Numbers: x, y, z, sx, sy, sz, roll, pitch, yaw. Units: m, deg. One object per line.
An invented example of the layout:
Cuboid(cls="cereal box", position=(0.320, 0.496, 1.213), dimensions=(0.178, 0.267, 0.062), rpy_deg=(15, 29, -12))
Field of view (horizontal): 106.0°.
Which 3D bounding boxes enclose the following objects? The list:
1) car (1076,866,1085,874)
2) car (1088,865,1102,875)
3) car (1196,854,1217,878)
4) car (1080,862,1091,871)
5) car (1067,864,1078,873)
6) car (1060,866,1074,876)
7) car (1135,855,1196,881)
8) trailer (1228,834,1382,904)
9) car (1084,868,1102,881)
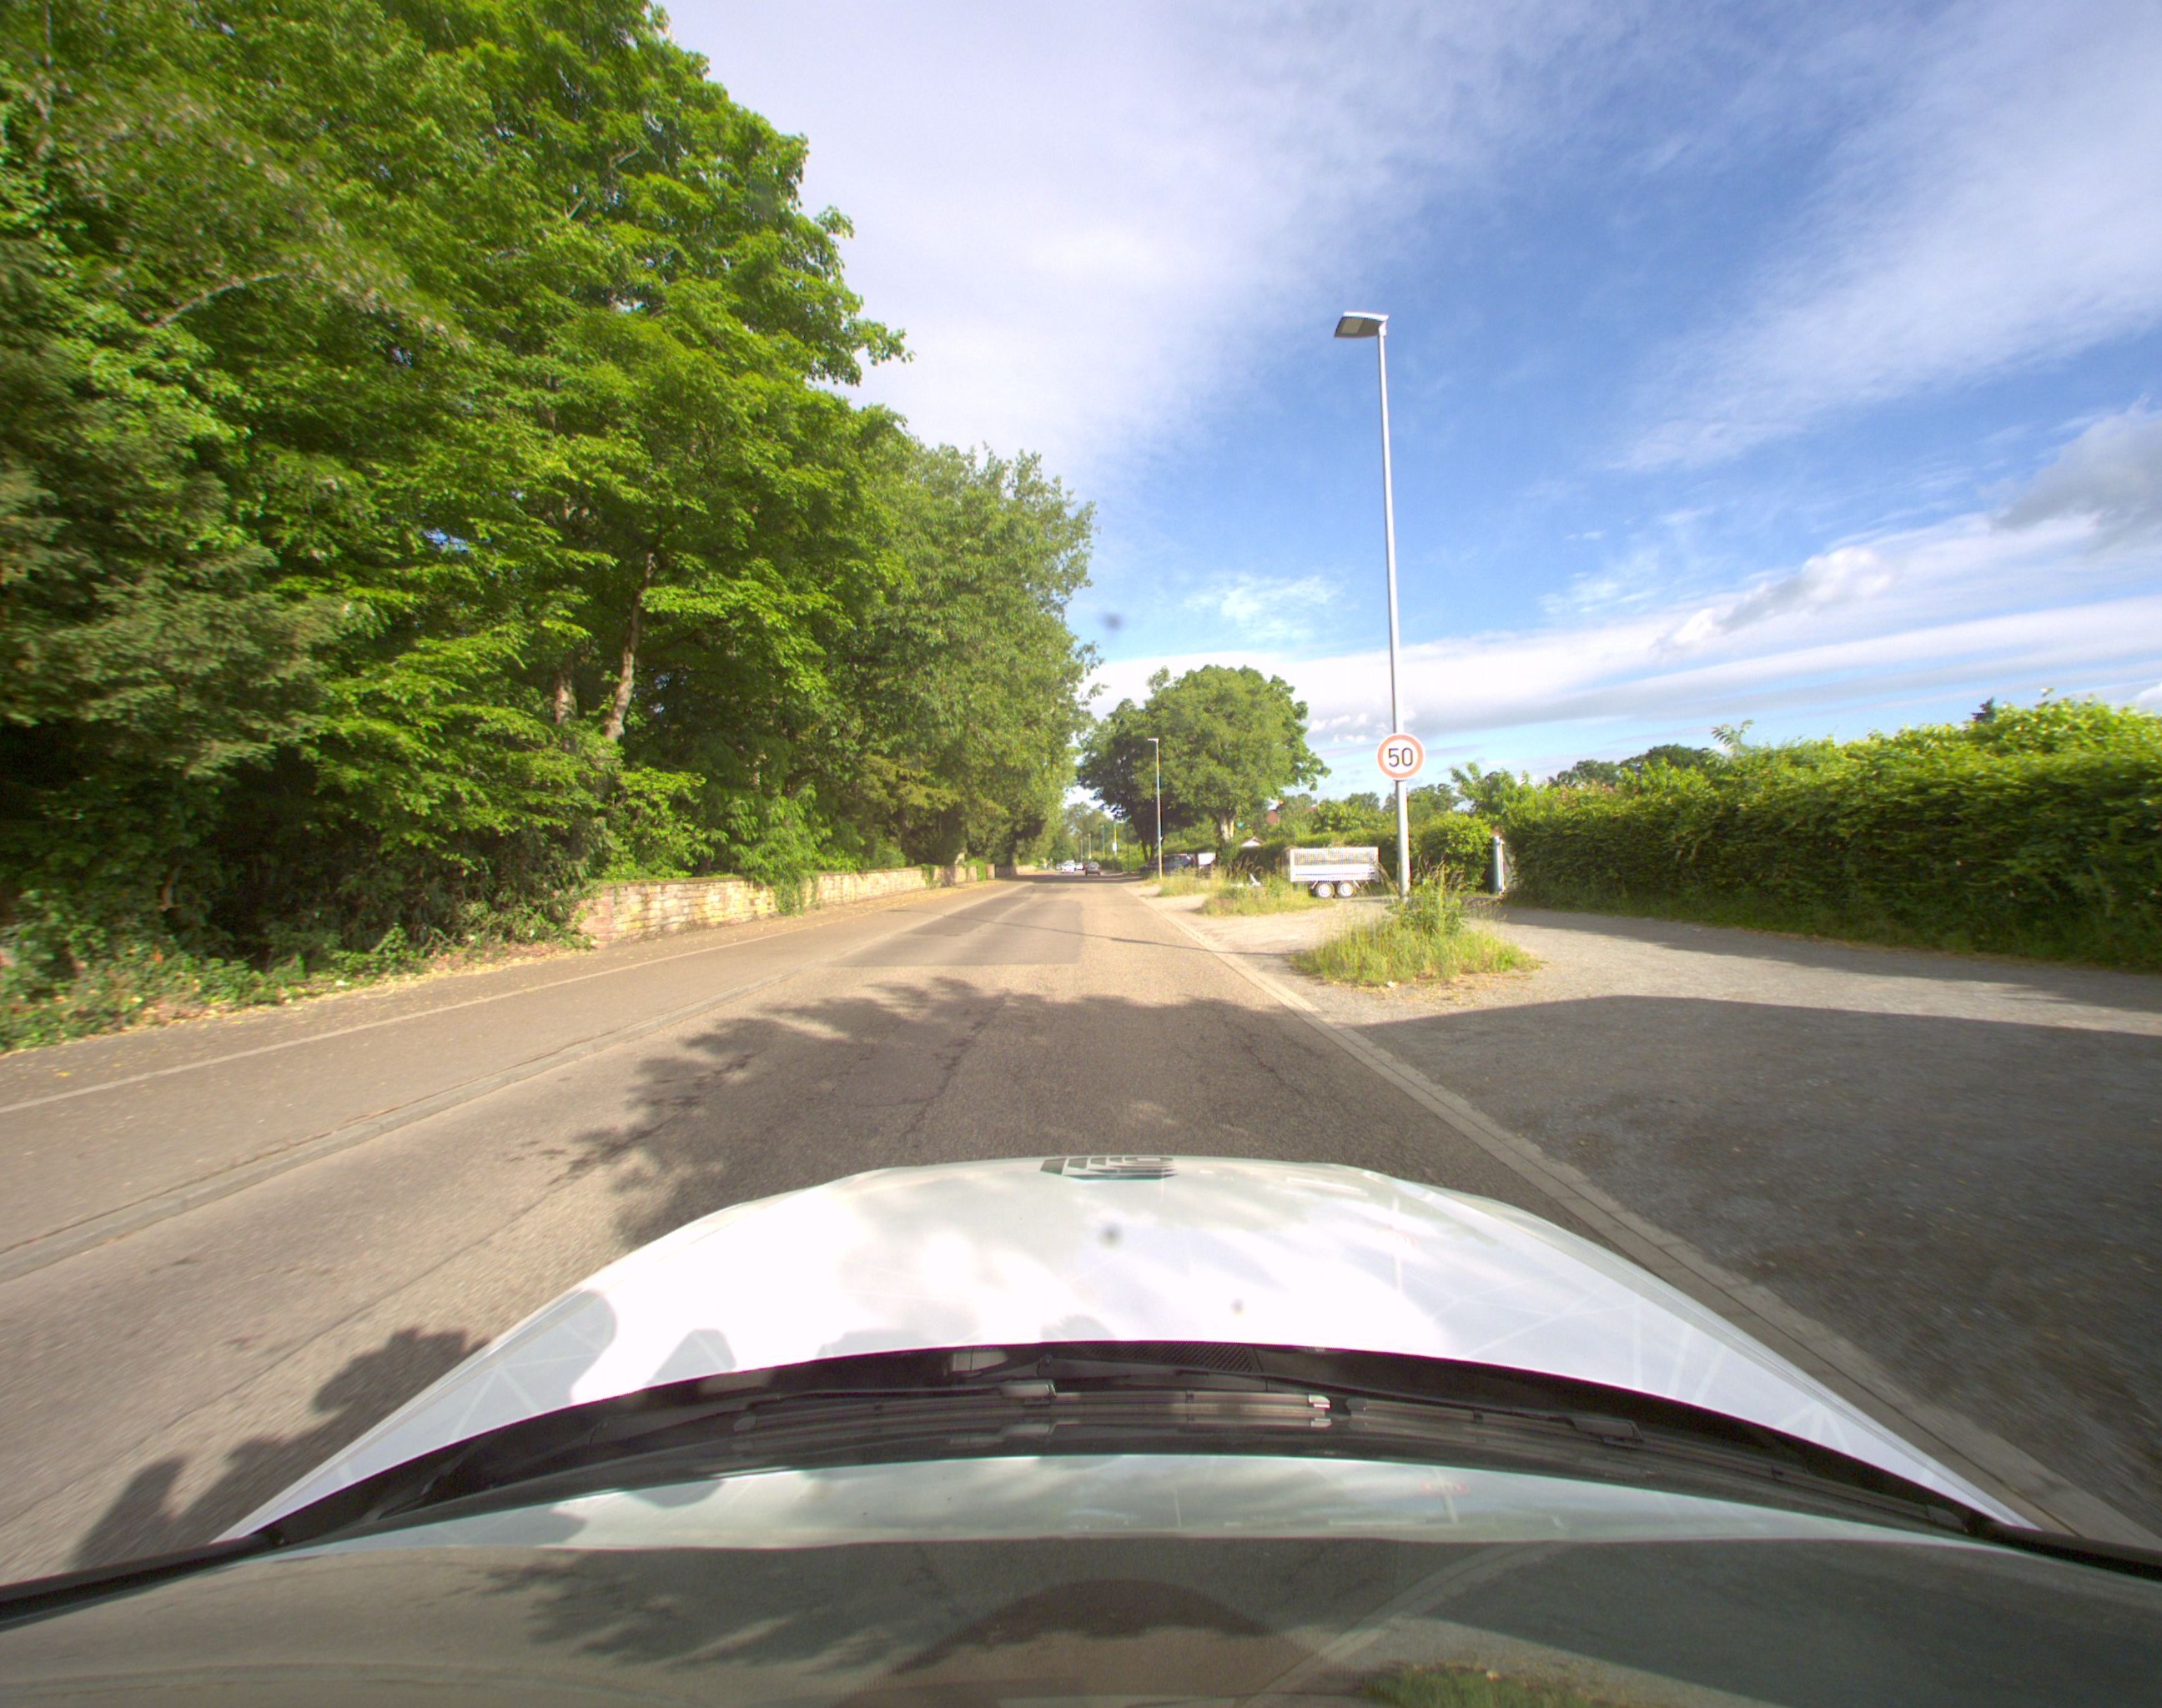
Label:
Cuboid(cls="car", position=(-0.157, 3.485, 174.032), dimensions=(1.881, 1.613, 4.053), rpy_deg=(-2, -1, -1))
Cuboid(cls="car", position=(2.033, 2.395, 120.810), dimensions=(1.881, 1.465, 4.053), rpy_deg=(-2, -1, -1))
Cuboid(cls="car", position=(9.446, 0.866, 61.057), dimensions=(1.342, 1.632, 4.124), rpy_deg=(-4, -1, 11))
Cuboid(cls="car", position=(0.800, 2.309, 147.456), dimensions=(1.881, 1.613, 4.053), rpy_deg=(-2, -1, -1))
Cuboid(cls="car", position=(-1.583, 2.636, 148.906), dimensions=(1.881, 1.564, 4.053), rpy_deg=(-2, -1, -1))
Cuboid(cls="car", position=(-2.058, 2.535, 119.299), dimensions=(1.882, 1.372, 4.051), rpy_deg=(-2, -1, -2))
Cuboid(cls="car", position=(6.491, 1.097, 62.999), dimensions=(4.388, 1.647, 2.000), rpy_deg=(-4, -1, 0))
Cuboid(cls="trailer", position=(6.680, 0.446, 24.684), dimensions=(4.133, 1.835, 1.918), rpy_deg=(-3, -1, 4))
Cuboid(cls="car", position=(1.354, 2.278, 92.873), dimensions=(1.881, 1.372, 4.053), rpy_deg=(-2, -1, -1))
